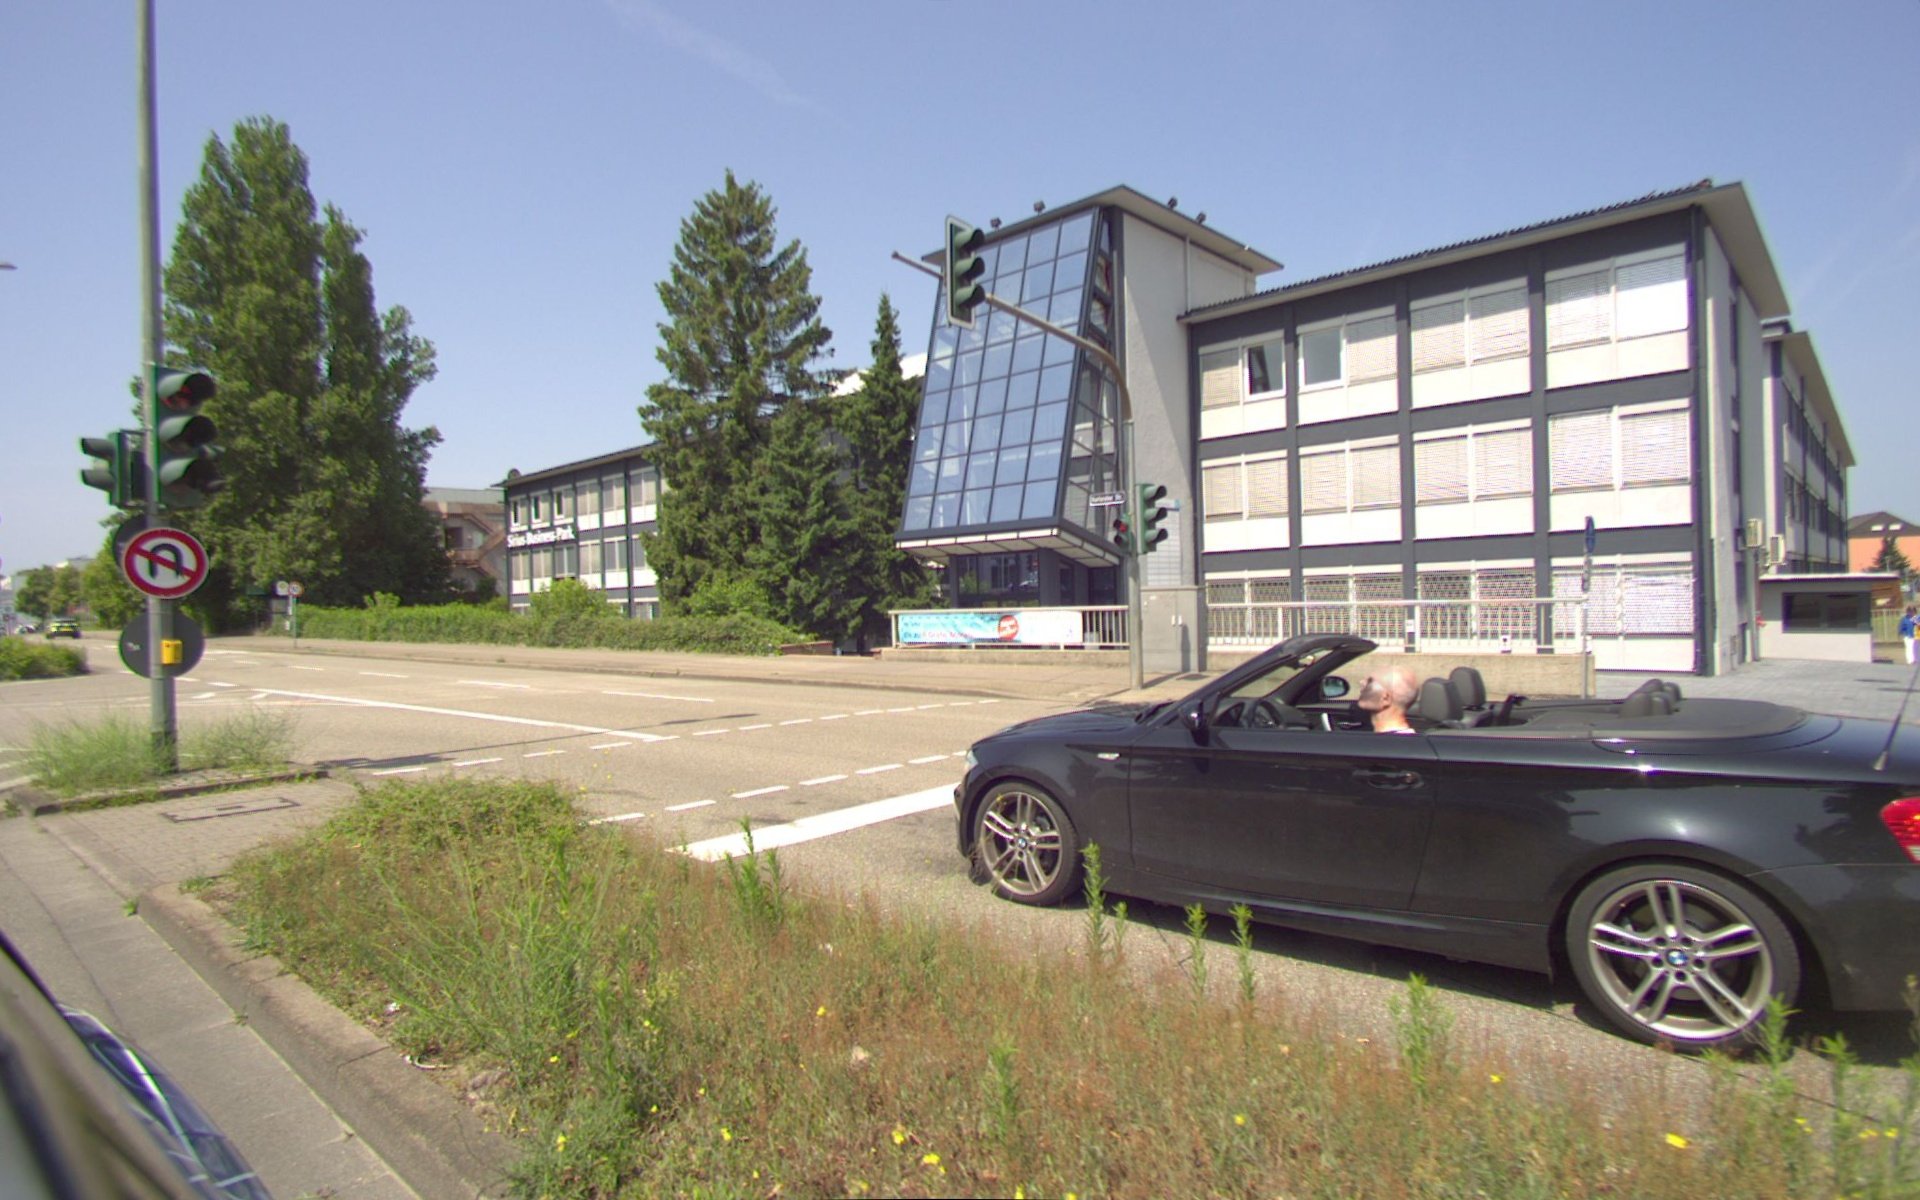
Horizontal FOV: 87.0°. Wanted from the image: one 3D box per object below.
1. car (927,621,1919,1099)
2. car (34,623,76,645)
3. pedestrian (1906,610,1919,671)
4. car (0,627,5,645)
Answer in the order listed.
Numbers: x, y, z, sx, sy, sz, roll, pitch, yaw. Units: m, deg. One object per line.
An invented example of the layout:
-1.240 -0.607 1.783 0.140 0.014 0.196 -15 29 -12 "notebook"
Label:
1.983 0.778 4.586 4.144 1.333 1.712 -1 -1 38 "car"
-69.819 2.608 78.068 4.284 1.572 1.874 -1 -1 40 "car"
26.431 1.095 27.524 0.857 1.637 0.677 -1 -1 31 "pedestrian"
-80.572 3.002 83.802 4.089 1.429 1.741 -1 0 41 "car"
